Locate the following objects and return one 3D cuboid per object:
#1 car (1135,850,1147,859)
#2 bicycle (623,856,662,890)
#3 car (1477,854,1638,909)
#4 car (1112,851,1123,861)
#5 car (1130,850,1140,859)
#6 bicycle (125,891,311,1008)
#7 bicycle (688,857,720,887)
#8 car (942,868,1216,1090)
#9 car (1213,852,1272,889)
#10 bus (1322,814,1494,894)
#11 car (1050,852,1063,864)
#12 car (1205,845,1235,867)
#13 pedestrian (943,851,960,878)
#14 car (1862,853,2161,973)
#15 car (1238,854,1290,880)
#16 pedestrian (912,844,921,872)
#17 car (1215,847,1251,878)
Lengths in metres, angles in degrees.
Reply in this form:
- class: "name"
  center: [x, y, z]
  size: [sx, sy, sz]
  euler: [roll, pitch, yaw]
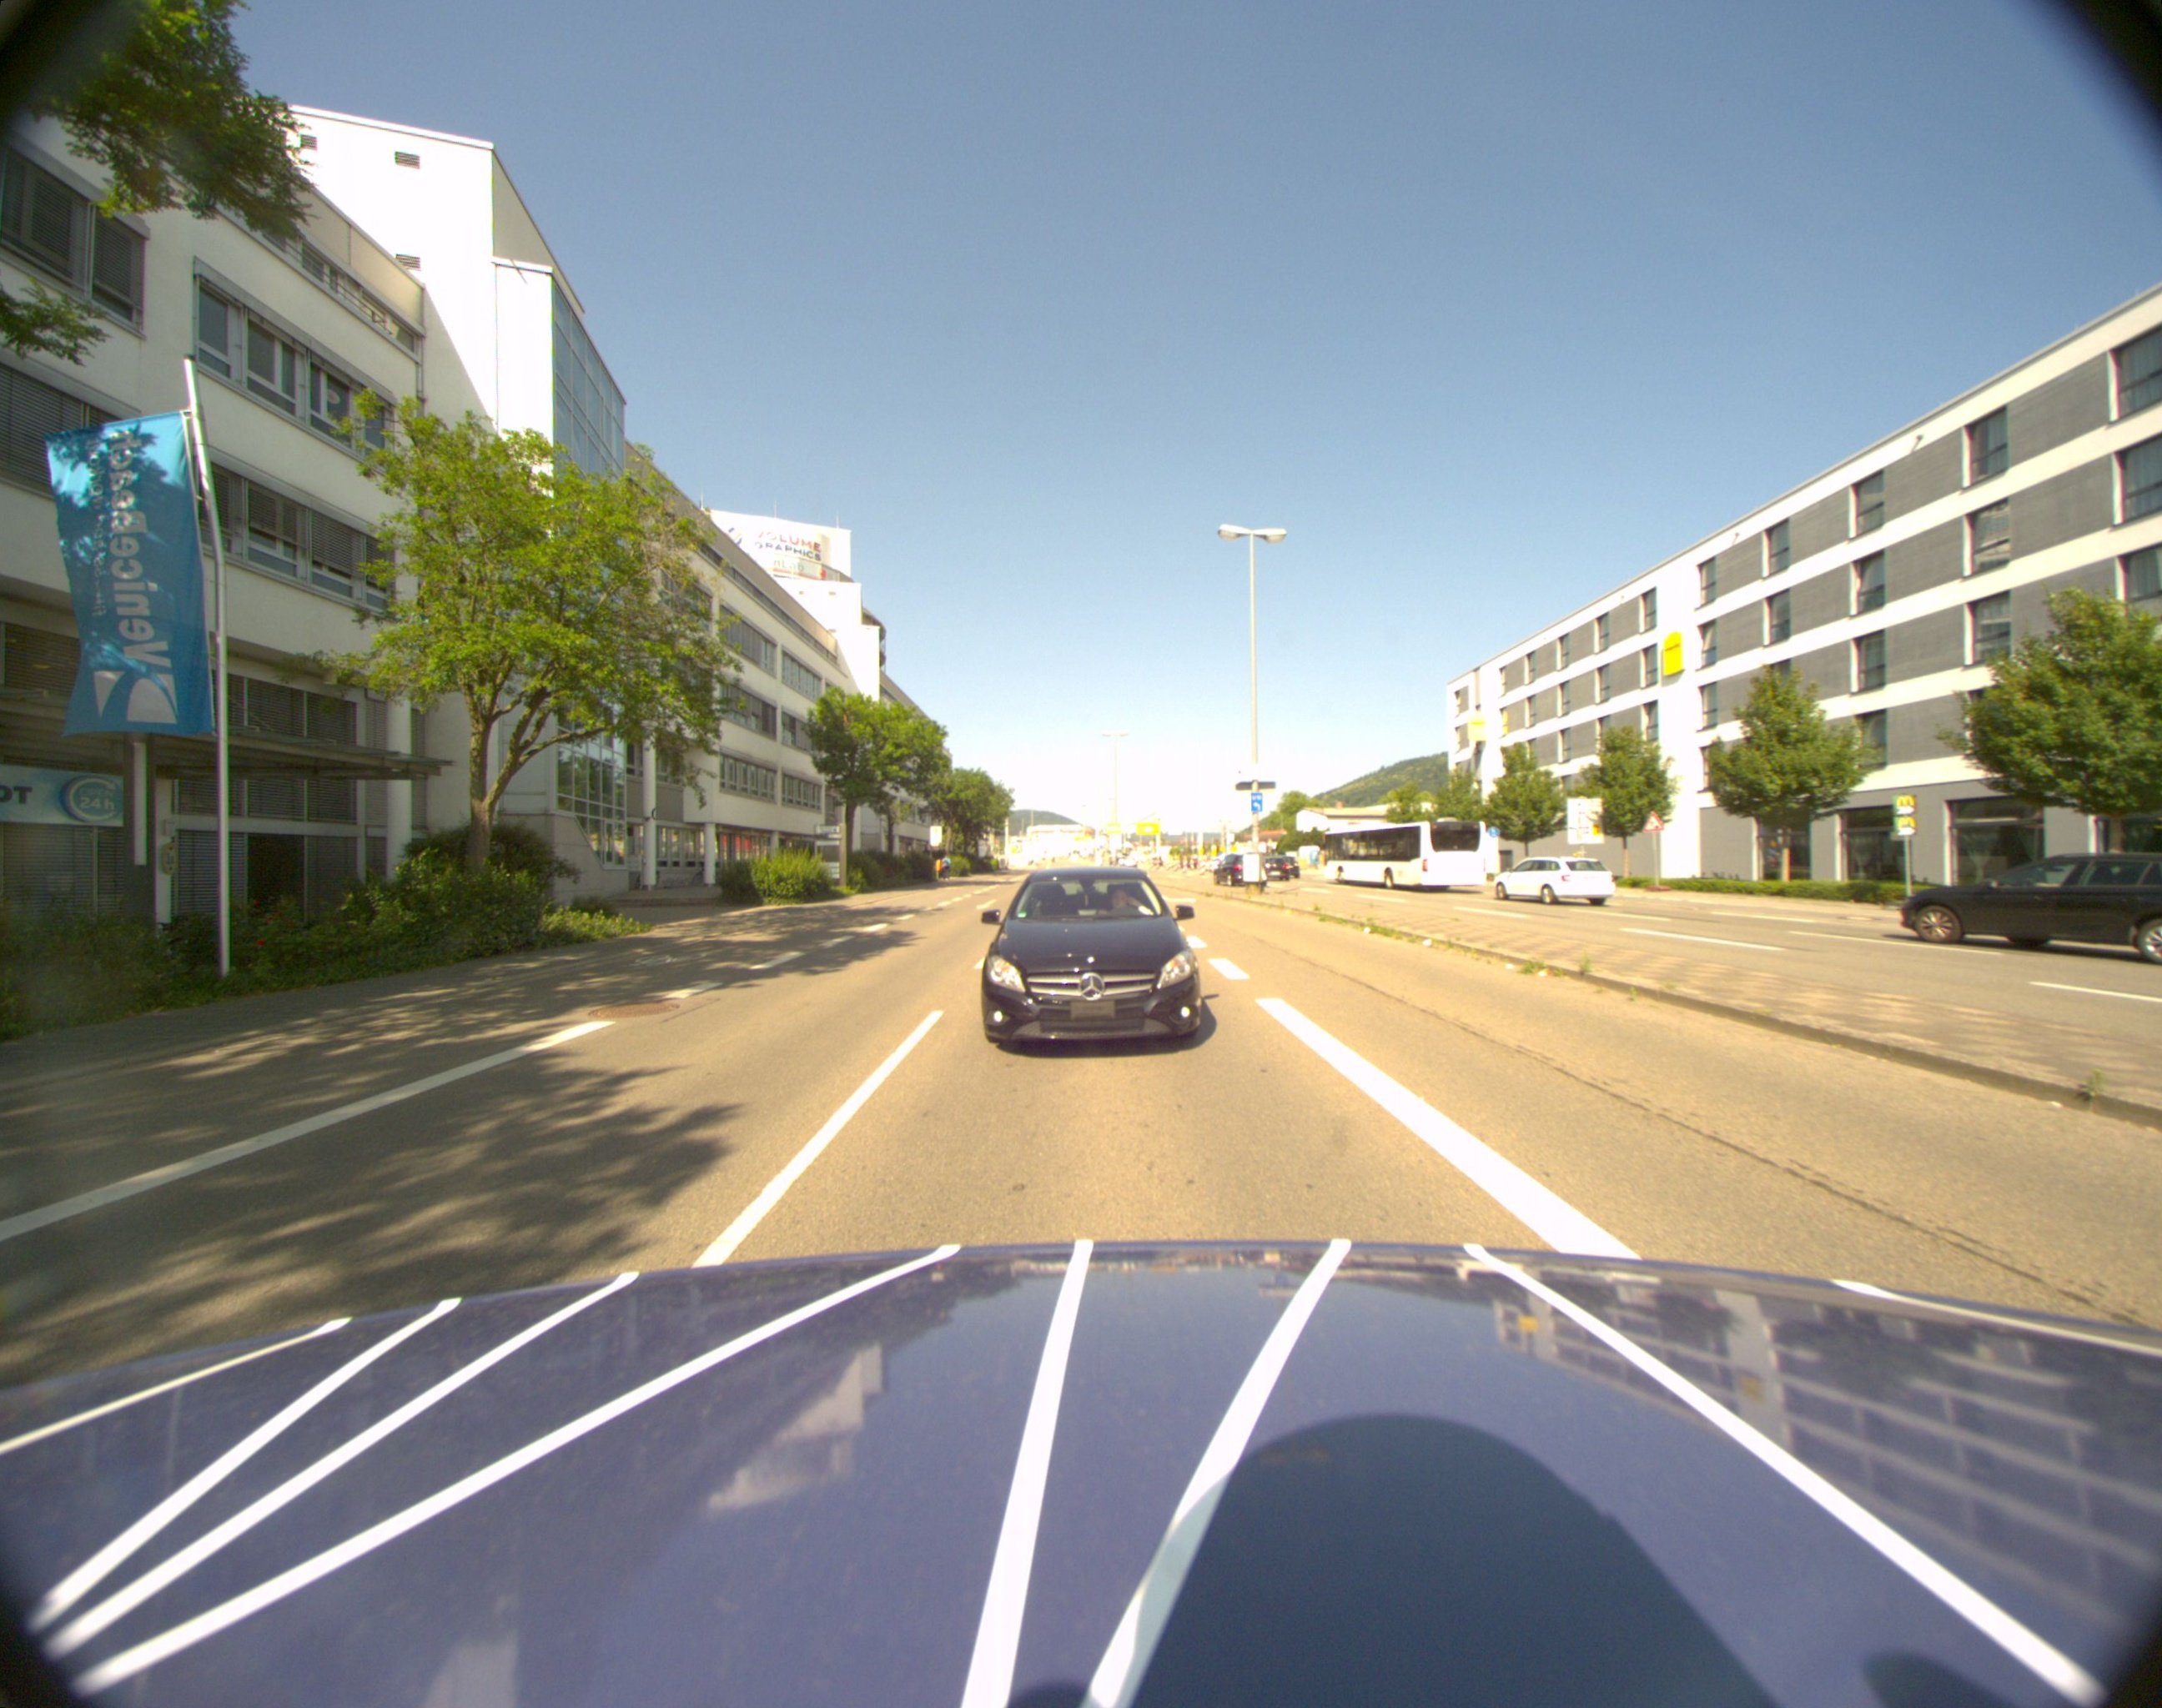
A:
- class: "car"
  center: [11.968, 0.062, 151.535]
  size: [1.998, 1.702, 4.892]
  euler: [0, -1, 1]
- class: "bicycle"
  center: [-18.060, 0.765, 31.342]
  size: [0.506, 1.346, 1.884]
  euler: [-1, 0, 1]
- class: "car"
  center: [14.819, 0.792, 23.978]
  size: [1.999, 1.477, 4.410]
  euler: [2, 1, -5]
- class: "car"
  center: [7.814, 0.469, 162.435]
  size: [1.998, 2.002, 3.999]
  euler: [-2, 1, 1]
- class: "car"
  center: [12.859, 0.123, 180.575]
  size: [1.999, 2.002, 3.999]
  euler: [0, 0, -1]
- class: "bicycle"
  center: [-11.300, 1.187, 10.053]
  size: [0.506, 1.321, 1.883]
  euler: [0, 0, -8]
- class: "bicycle"
  center: [-17.719, 0.813, 35.767]
  size: [0.506, 1.346, 1.884]
  euler: [-1, 0, 1]
- class: "car"
  center: [0.009, 0.925, 7.672]
  size: [1.905, 1.431, 4.693]
  euler: [-1, 0, 1]
- class: "car"
  center: [7.637, 0.736, 36.297]
  size: [1.890, 1.608, 4.134]
  euler: [-1, 0, -1]
- class: "bus"
  center: [14.603, -0.034, 35.500]
  size: [2.745, 3.061, 11.974]
  euler: [1, 0, 0]
- class: "car"
  center: [-4.222, 0.655, 132.614]
  size: [1.998, 2.002, 4.000]
  euler: [-2, 1, 2]
- class: "car"
  center: [13.766, 0.176, 75.383]
  size: [1.999, 2.002, 3.999]
  euler: [-3, 0, -2]
- class: "pedestrian"
  center: [-9.200, 0.755, 53.915]
  size: [0.942, 1.875, 1.289]
  euler: [2, 1, 0]
- class: "car"
  center: [15.198, 0.797, 11.569]
  size: [1.999, 1.568, 4.412]
  euler: [1, 0, -1]
- class: "car"
  center: [11.214, 0.765, 46.844]
  size: [1.998, 1.424, 4.890]
  euler: [-1, 0, 0]
- class: "pedestrian"
  center: [-15.044, 0.389, 69.491]
  size: [0.717, 2.534, 0.716]
  euler: [-1, 1, -1]
- class: "car"
  center: [10.735, 0.569, 53.790]
  size: [1.679, 2.002, 4.164]
  euler: [-2, 1, 1]
